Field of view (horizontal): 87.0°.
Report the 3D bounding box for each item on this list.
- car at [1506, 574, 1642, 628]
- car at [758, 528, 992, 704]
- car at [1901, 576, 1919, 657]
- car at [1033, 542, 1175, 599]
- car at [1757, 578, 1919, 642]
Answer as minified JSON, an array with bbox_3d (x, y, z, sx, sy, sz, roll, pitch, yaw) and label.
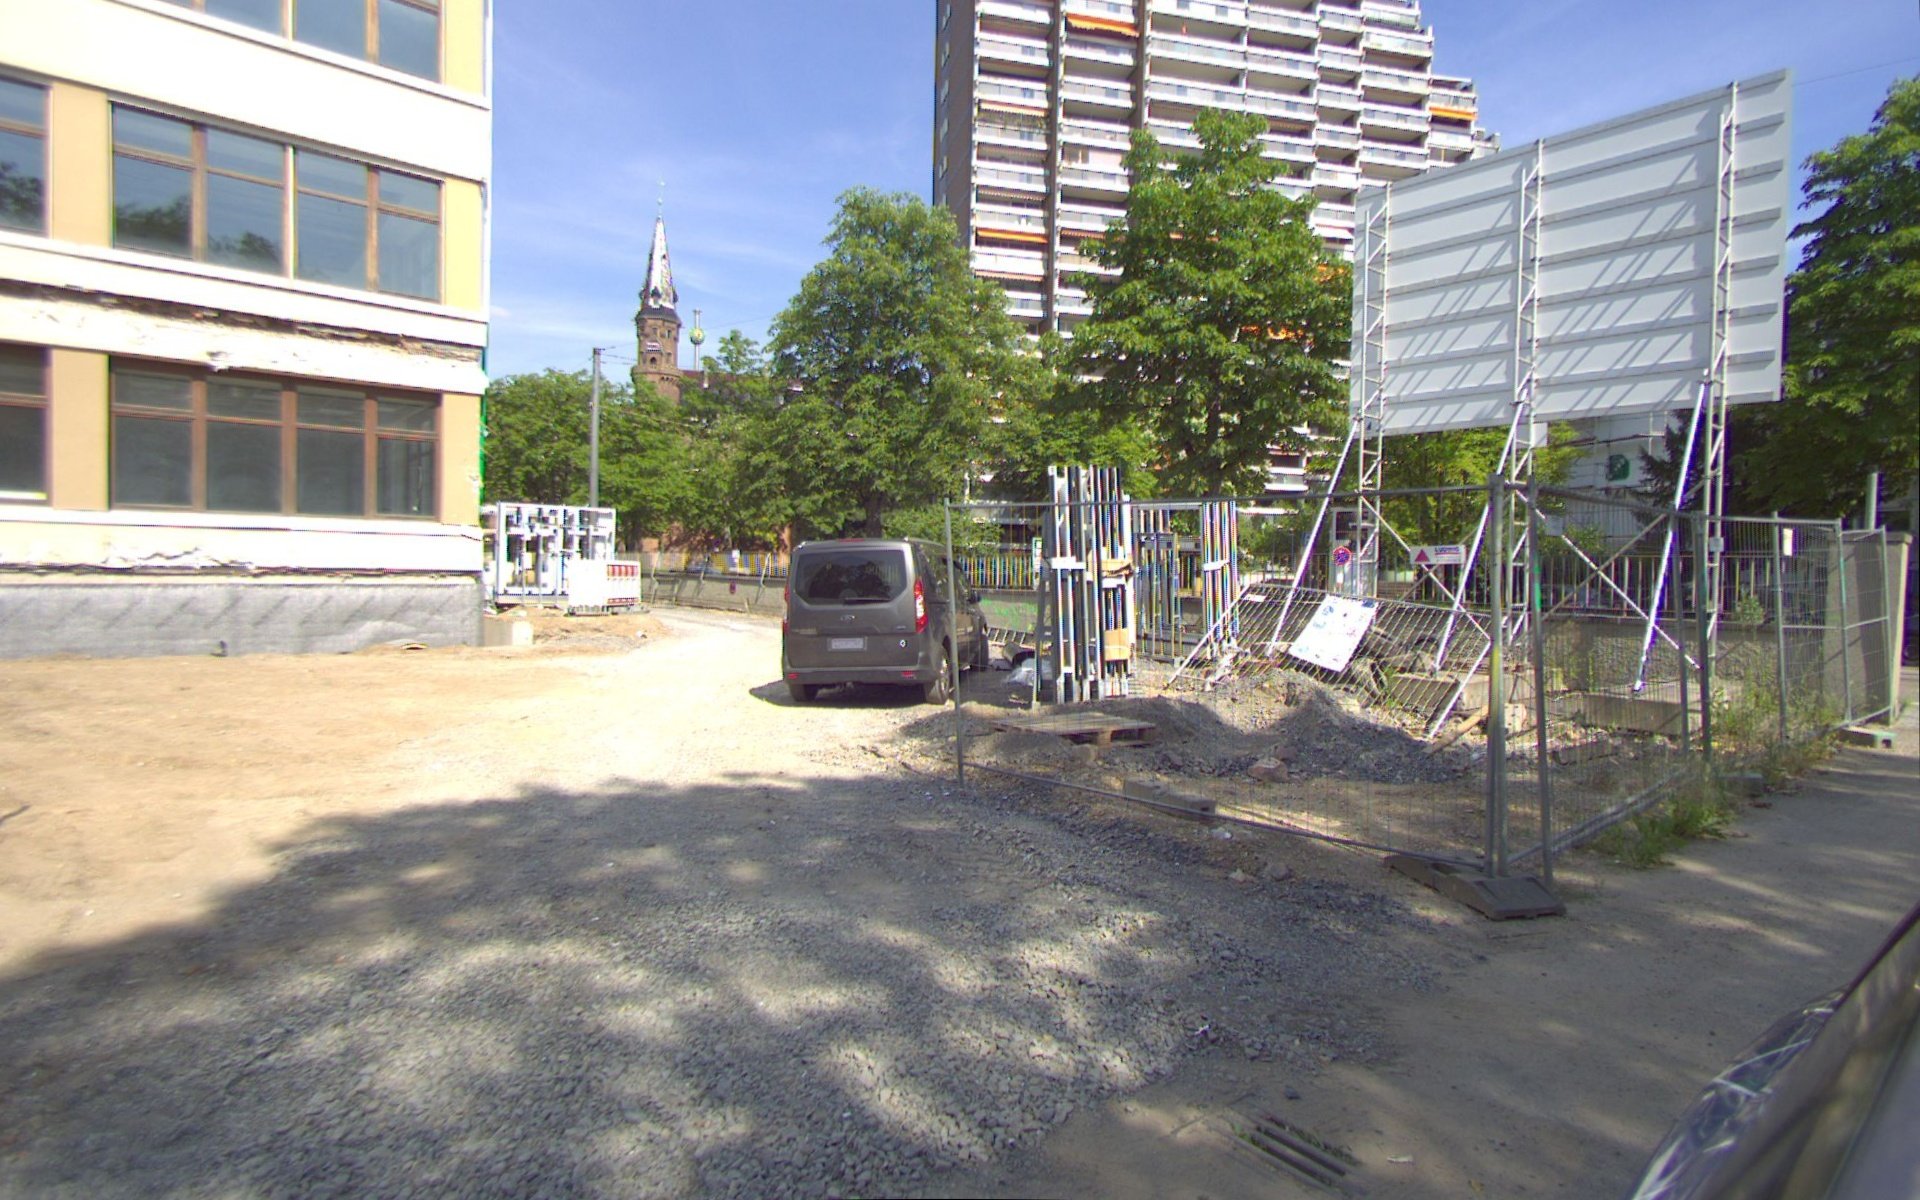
[{"bbox_3d":[18.486,-0.018,30.706,1.810,1.427,4.145,0,3,4],"label":"car"},{"bbox_3d":[-0.837,0.100,12.637,1.891,1.802,4.301,0,2,10],"label":"car"},{"bbox_3d":[20.379,0.402,18.531,1.908,1.540,4.387,1,1,-39],"label":"car"},{"bbox_3d":[5.197,-1.104,37.237,1.960,1.970,5.245,0,2,-39],"label":"car"},{"bbox_3d":[22.653,0.192,25.760,1.624,1.469,3.998,1,2,2],"label":"car"}]
